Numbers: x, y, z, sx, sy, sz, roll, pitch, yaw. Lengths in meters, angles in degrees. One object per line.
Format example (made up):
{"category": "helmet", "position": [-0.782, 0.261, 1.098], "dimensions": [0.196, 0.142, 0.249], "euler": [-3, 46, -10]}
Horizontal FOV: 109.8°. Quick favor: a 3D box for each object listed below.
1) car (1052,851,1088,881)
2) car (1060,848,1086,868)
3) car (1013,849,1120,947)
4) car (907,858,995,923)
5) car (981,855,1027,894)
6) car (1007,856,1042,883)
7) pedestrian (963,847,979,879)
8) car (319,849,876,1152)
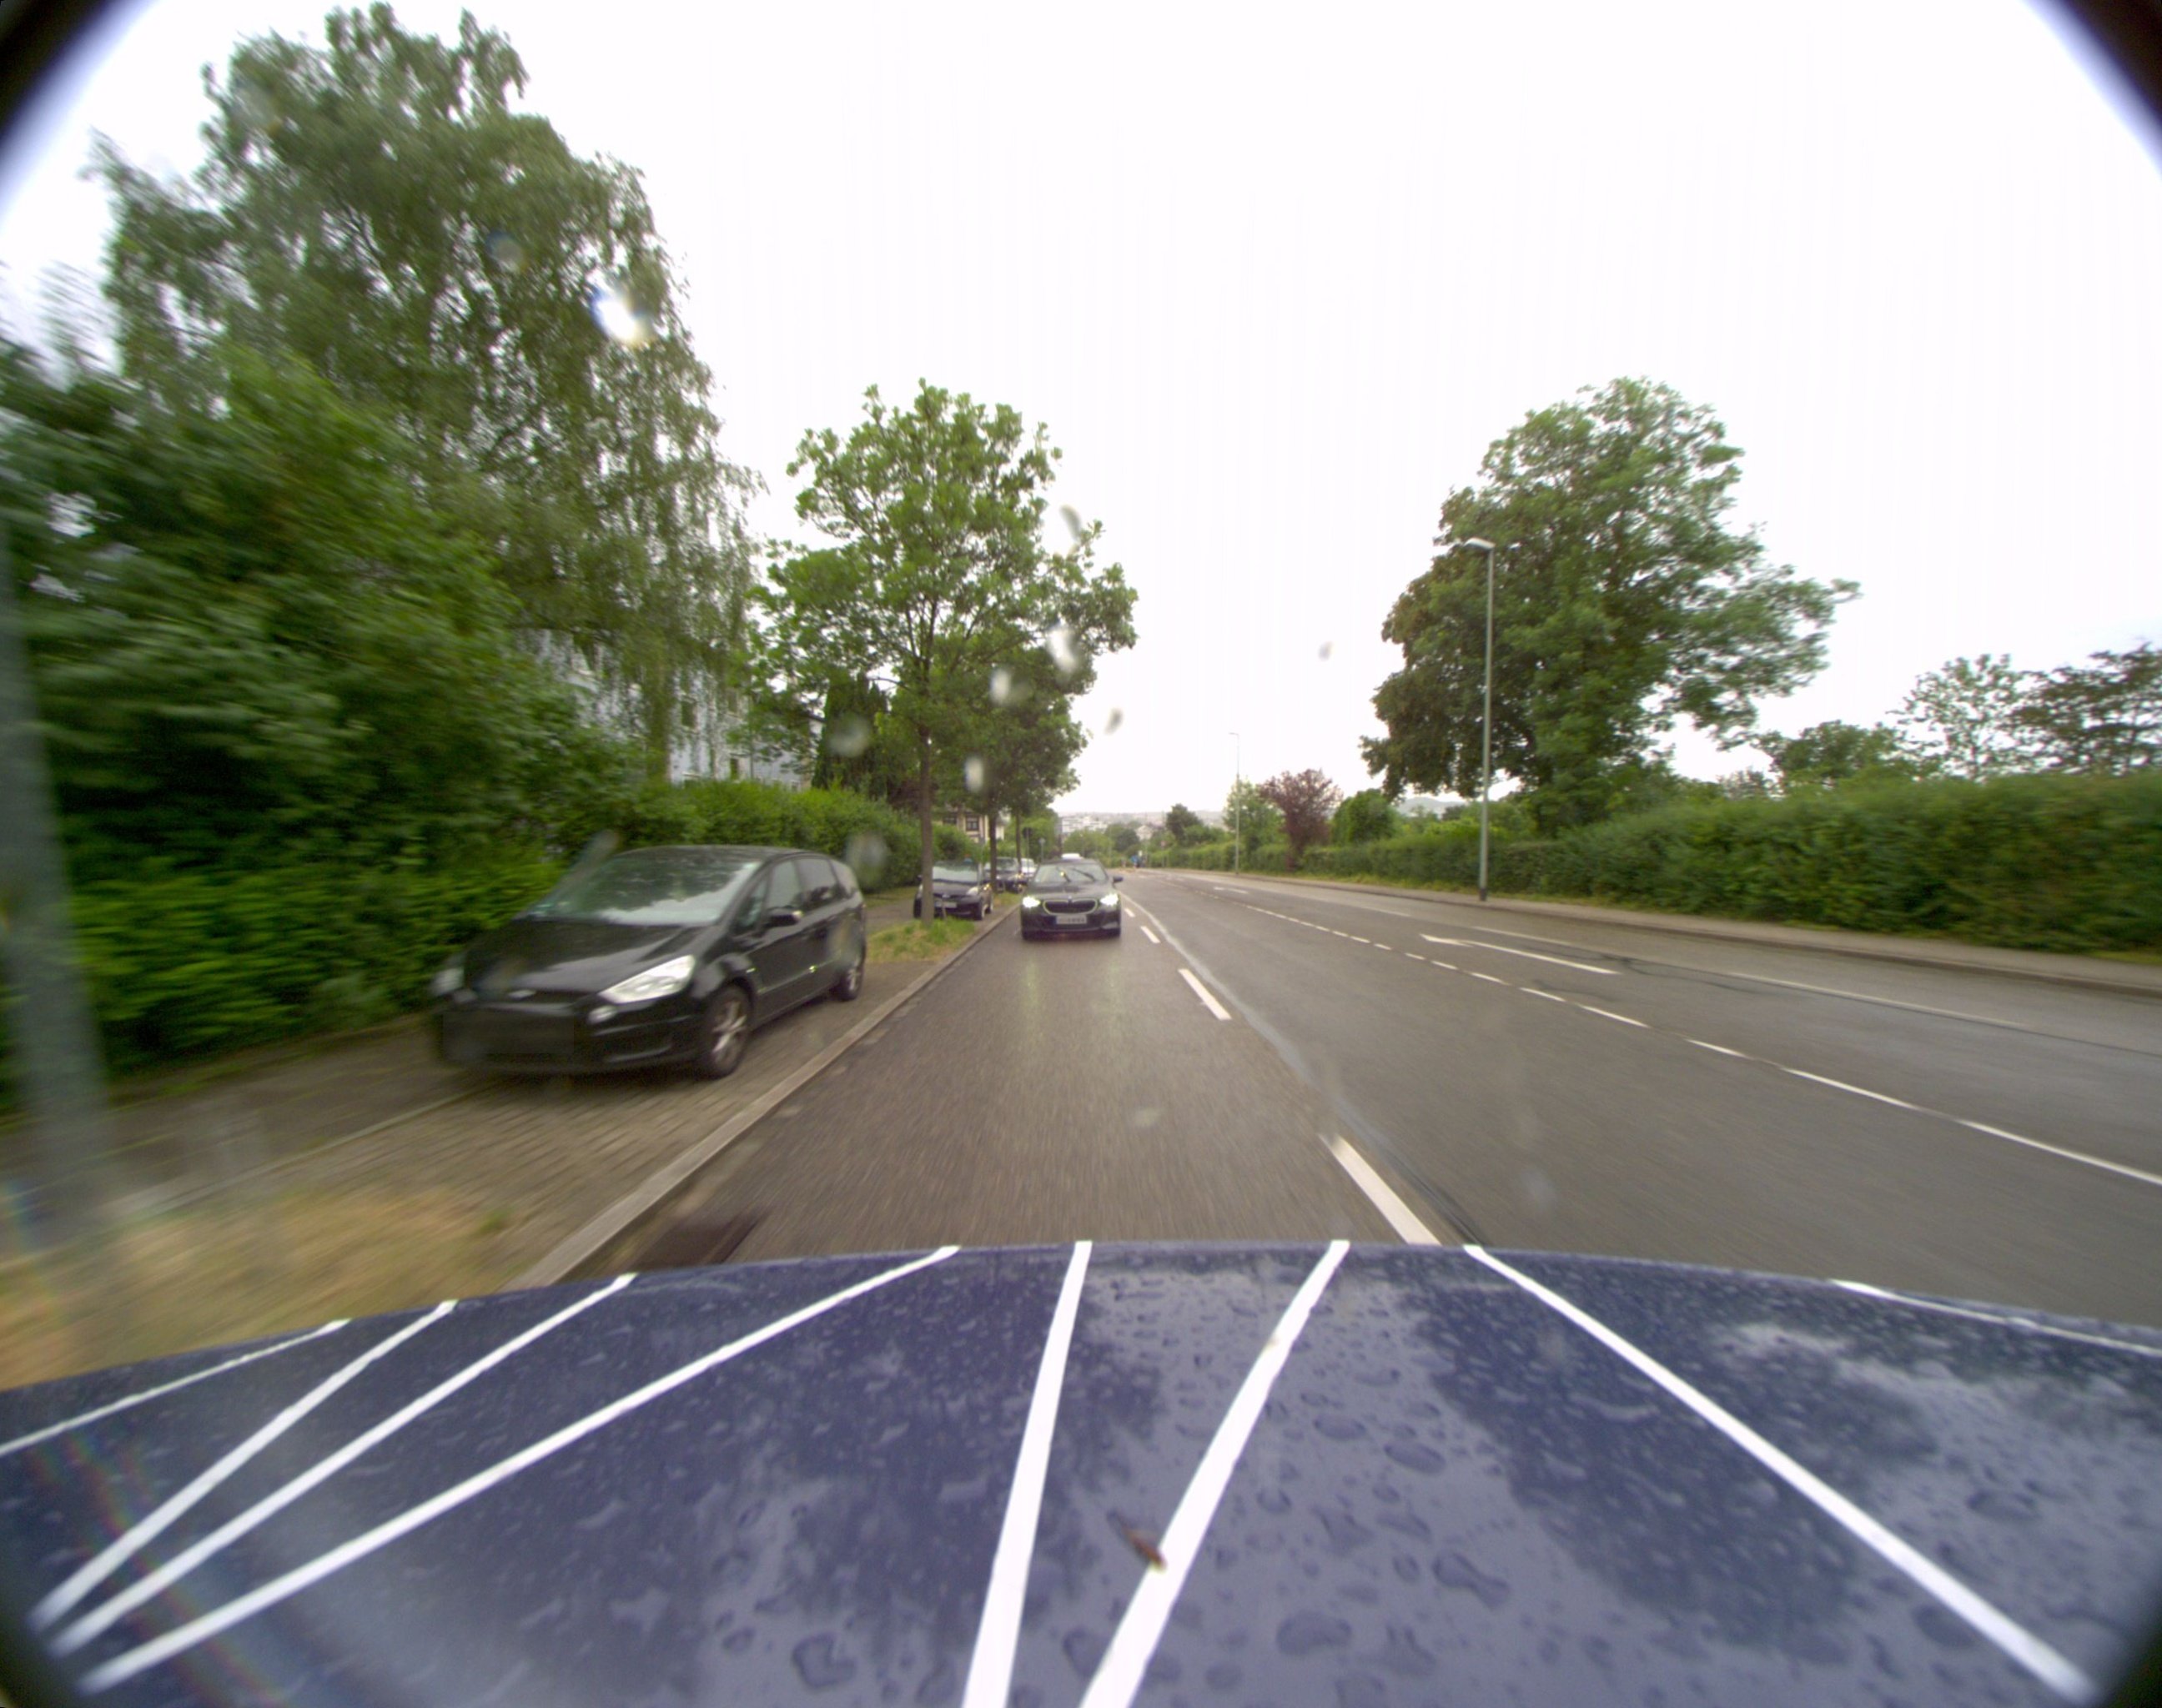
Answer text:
{"category": "car", "position": [-0.635, 0.660, 44.364], "dimensions": [1.999, 1.674, 4.173], "euler": [-1, 0, -1]}
{"category": "car", "position": [-0.699, 0.349, 65.994], "dimensions": [1.999, 1.674, 4.172], "euler": [-1, 0, -4]}
{"category": "car", "position": [-0.235, 0.780, 15.723], "dimensions": [1.829, 1.668, 4.296], "euler": [-3, 0, 1]}
{"category": "car", "position": [-3.259, 0.870, 19.707], "dimensions": [1.726, 1.503, 3.785], "euler": [1, 0, -2]}
{"category": "car", "position": [-3.270, 0.829, 32.845], "dimensions": [1.646, 1.586, 4.013], "euler": [1, 0, -2]}
{"category": "car", "position": [-3.310, 0.890, 45.296], "dimensions": [1.803, 1.513, 4.591], "euler": [1, 0, 0]}
{"category": "pedestrian", "position": [-5.833, 0.481, 40.280], "dimensions": [0.709, 1.670, 0.654], "euler": [0, 1, 7]}
{"category": "car", "position": [-3.334, 0.814, 6.553], "dimensions": [1.829, 1.668, 4.584], "euler": [1, 0, 1]}
